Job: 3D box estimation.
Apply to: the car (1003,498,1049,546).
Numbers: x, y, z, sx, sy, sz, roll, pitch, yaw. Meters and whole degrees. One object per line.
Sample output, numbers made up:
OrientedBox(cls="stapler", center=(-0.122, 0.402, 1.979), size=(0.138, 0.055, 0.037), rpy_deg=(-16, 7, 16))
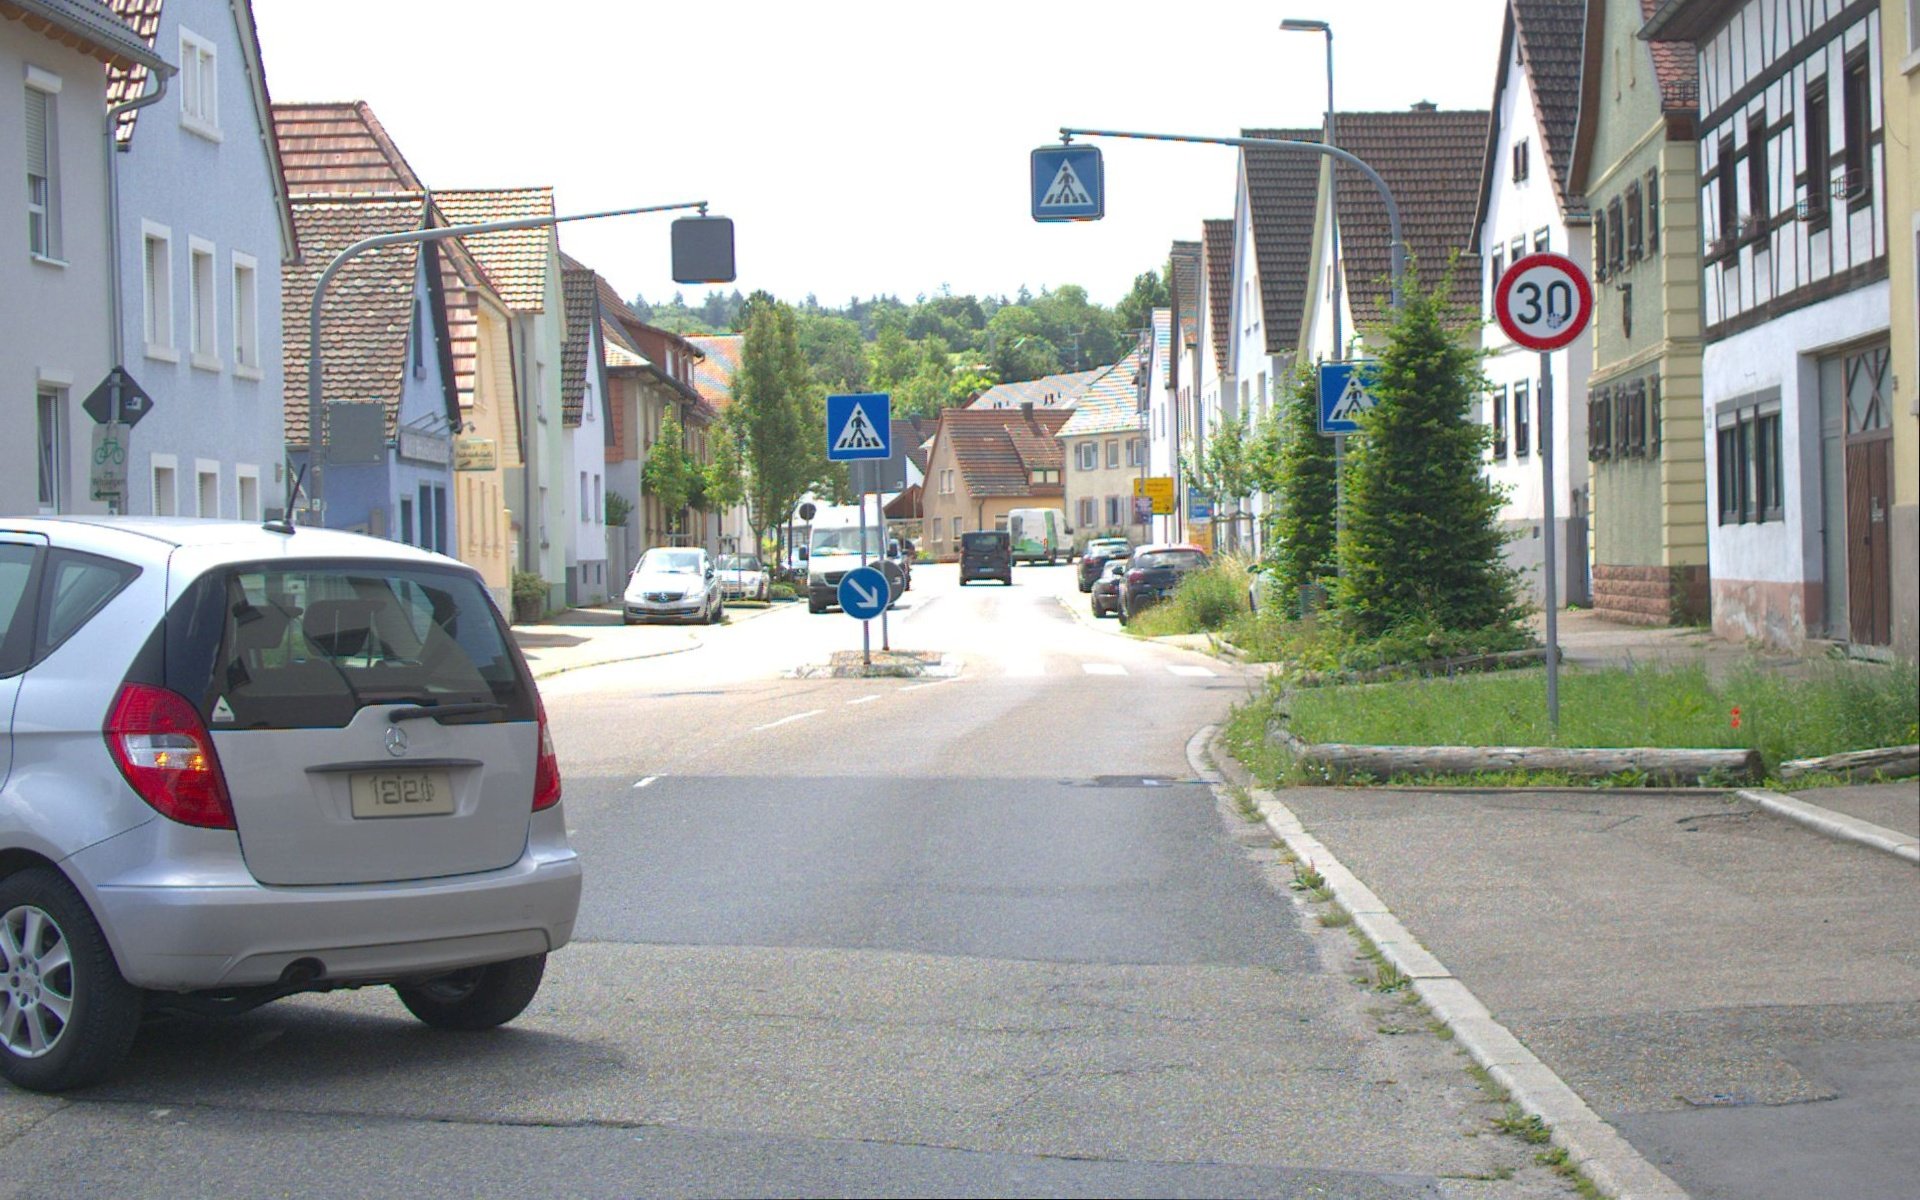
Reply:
OrientedBox(cls="car", center=(2.946, -3.464, 153.949), size=(1.993, 2.007, 4.000), rpy_deg=(0, -1, 0))

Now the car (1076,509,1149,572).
OrientedBox(cls="car", center=(4.657, -1.802, 105.523), size=(1.993, 1.810, 4.000), rpy_deg=(0, -1, -1))

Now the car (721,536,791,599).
OrientedBox(cls="car", center=(-5.504, -0.868, 93.066), size=(1.667, 1.590, 4.000), rpy_deg=(0, -1, 0))

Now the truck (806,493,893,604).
OrientedBox(cls="truck", center=(-2.683, -1.213, 84.793), size=(1.993, 2.528, 6.739), rpy_deg=(0, -1, -1))

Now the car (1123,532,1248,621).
OrientedBox(cls="car", center=(4.035, -0.398, 61.979), size=(1.993, 1.503, 4.000), rpy_deg=(0, -1, 0))

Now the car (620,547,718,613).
OrientedBox(cls="car", center=(-6.153, -0.404, 72.635), size=(1.993, 1.317, 3.709), rpy_deg=(0, -1, -5))

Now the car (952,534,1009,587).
OrientedBox(cls="car", center=(0.733, -1.418, 124.571), size=(1.993, 1.810, 4.000), rpy_deg=(0, -1, -1))

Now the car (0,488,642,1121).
OrientedBox(cls="car", center=(-2.979, 0.503, 10.781), size=(3.725, 1.638, 1.812), rpy_deg=(1, 0, 40))

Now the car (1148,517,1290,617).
OrientedBox(cls="car", center=(4.132, -0.506, 55.386), size=(1.993, 1.503, 4.000), rpy_deg=(0, -1, 0))
